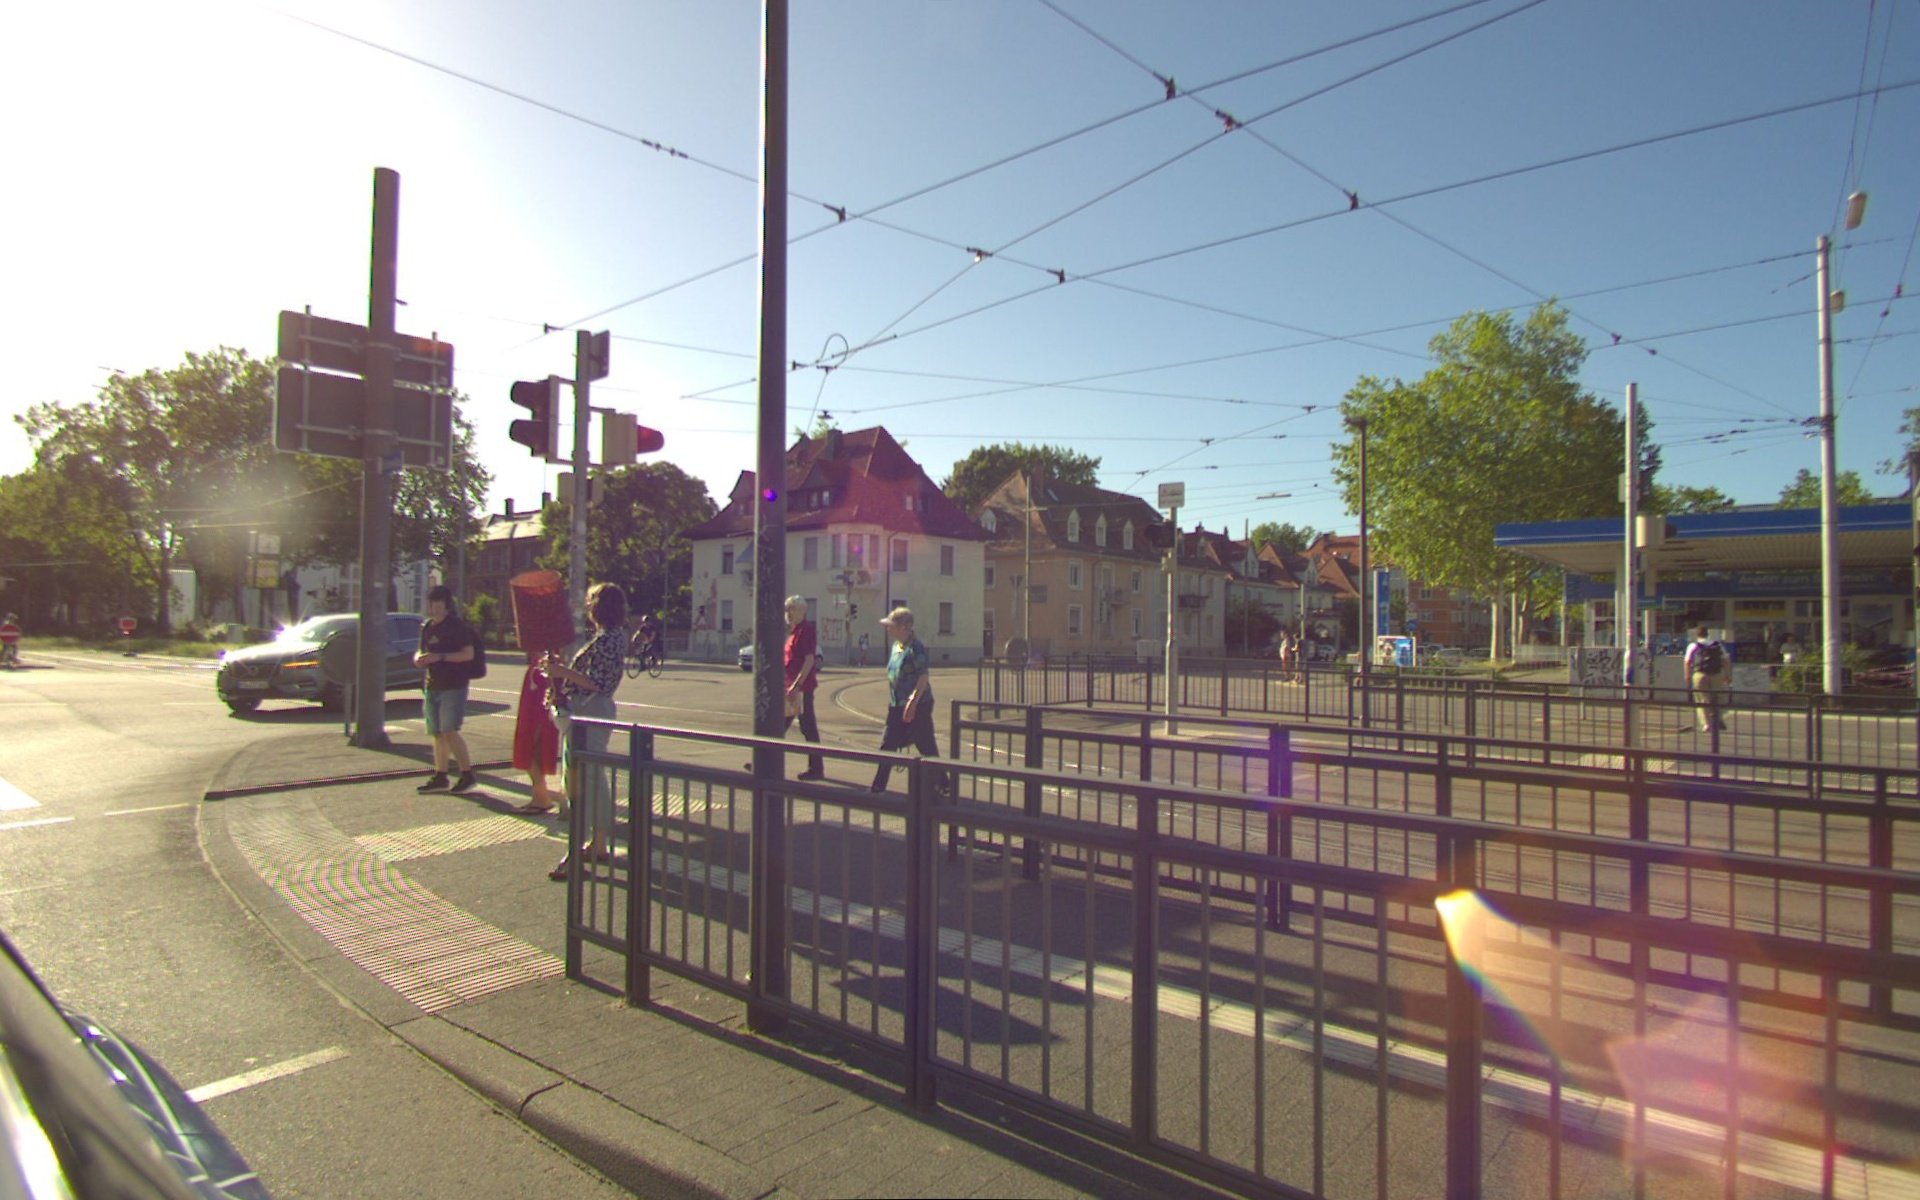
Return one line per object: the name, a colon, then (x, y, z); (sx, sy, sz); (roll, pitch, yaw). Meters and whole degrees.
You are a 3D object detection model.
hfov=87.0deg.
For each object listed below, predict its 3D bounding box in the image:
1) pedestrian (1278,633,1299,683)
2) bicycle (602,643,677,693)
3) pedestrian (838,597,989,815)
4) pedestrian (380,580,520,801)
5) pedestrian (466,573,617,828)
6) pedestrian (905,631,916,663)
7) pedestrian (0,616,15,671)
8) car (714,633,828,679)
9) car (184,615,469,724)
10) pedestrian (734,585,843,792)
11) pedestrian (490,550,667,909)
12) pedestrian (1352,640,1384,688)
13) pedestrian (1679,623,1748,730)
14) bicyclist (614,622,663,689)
pedestrian: (11.961, 2.097, 36.874); (0.486, 1.783, 0.523); (2, -3, -38)
bicycle: (-9.363, 1.964, 29.683); (1.013, 1.367, 2.369); (0, -2, 13)
pedestrian: (-0.395, 0.845, 8.545); (1.008, 1.703, 0.792); (-2, -3, 43)
pedestrian: (-4.215, 0.712, 8.376); (0.776, 1.703, 0.788); (-2, -3, 43)
pedestrian: (-3.026, 0.688, 7.324); (0.776, 1.703, 0.733); (-2, -3, 43)
pedestrian: (-2.685, 2.539, 54.730); (0.408, 1.756, 0.412); (-2, -3, 40)
pedestrian: (-32.723, 1.488, 34.550); (0.572, 1.849, 0.560); (2, -3, -40)
car: (-6.981, 2.054, 37.820); (1.991, 1.616, 4.232); (-1, -2, 28)
car: (-10.988, 1.135, 18.057); (1.956, 1.682, 4.613); (0, -1, 4)
pedestrian: (-1.624, 0.809, 9.596); (0.808, 1.846, 0.642); (-2, -3, 43)
pedestrian: (-2.150, 0.676, 5.709); (0.776, 1.841, 0.628); (-2, -3, 43)
pedestrian: (13.214, 2.061, 32.783); (0.799, 1.495, 0.759); (-1, -3, 38)
pedestrian: (12.400, 1.236, 16.675); (0.824, 1.703, 0.646); (-1, -2, 32)
bicyclist: (-9.380, 1.605, 29.560); (0.983, 1.897, 0.999); (0, -2, 13)
